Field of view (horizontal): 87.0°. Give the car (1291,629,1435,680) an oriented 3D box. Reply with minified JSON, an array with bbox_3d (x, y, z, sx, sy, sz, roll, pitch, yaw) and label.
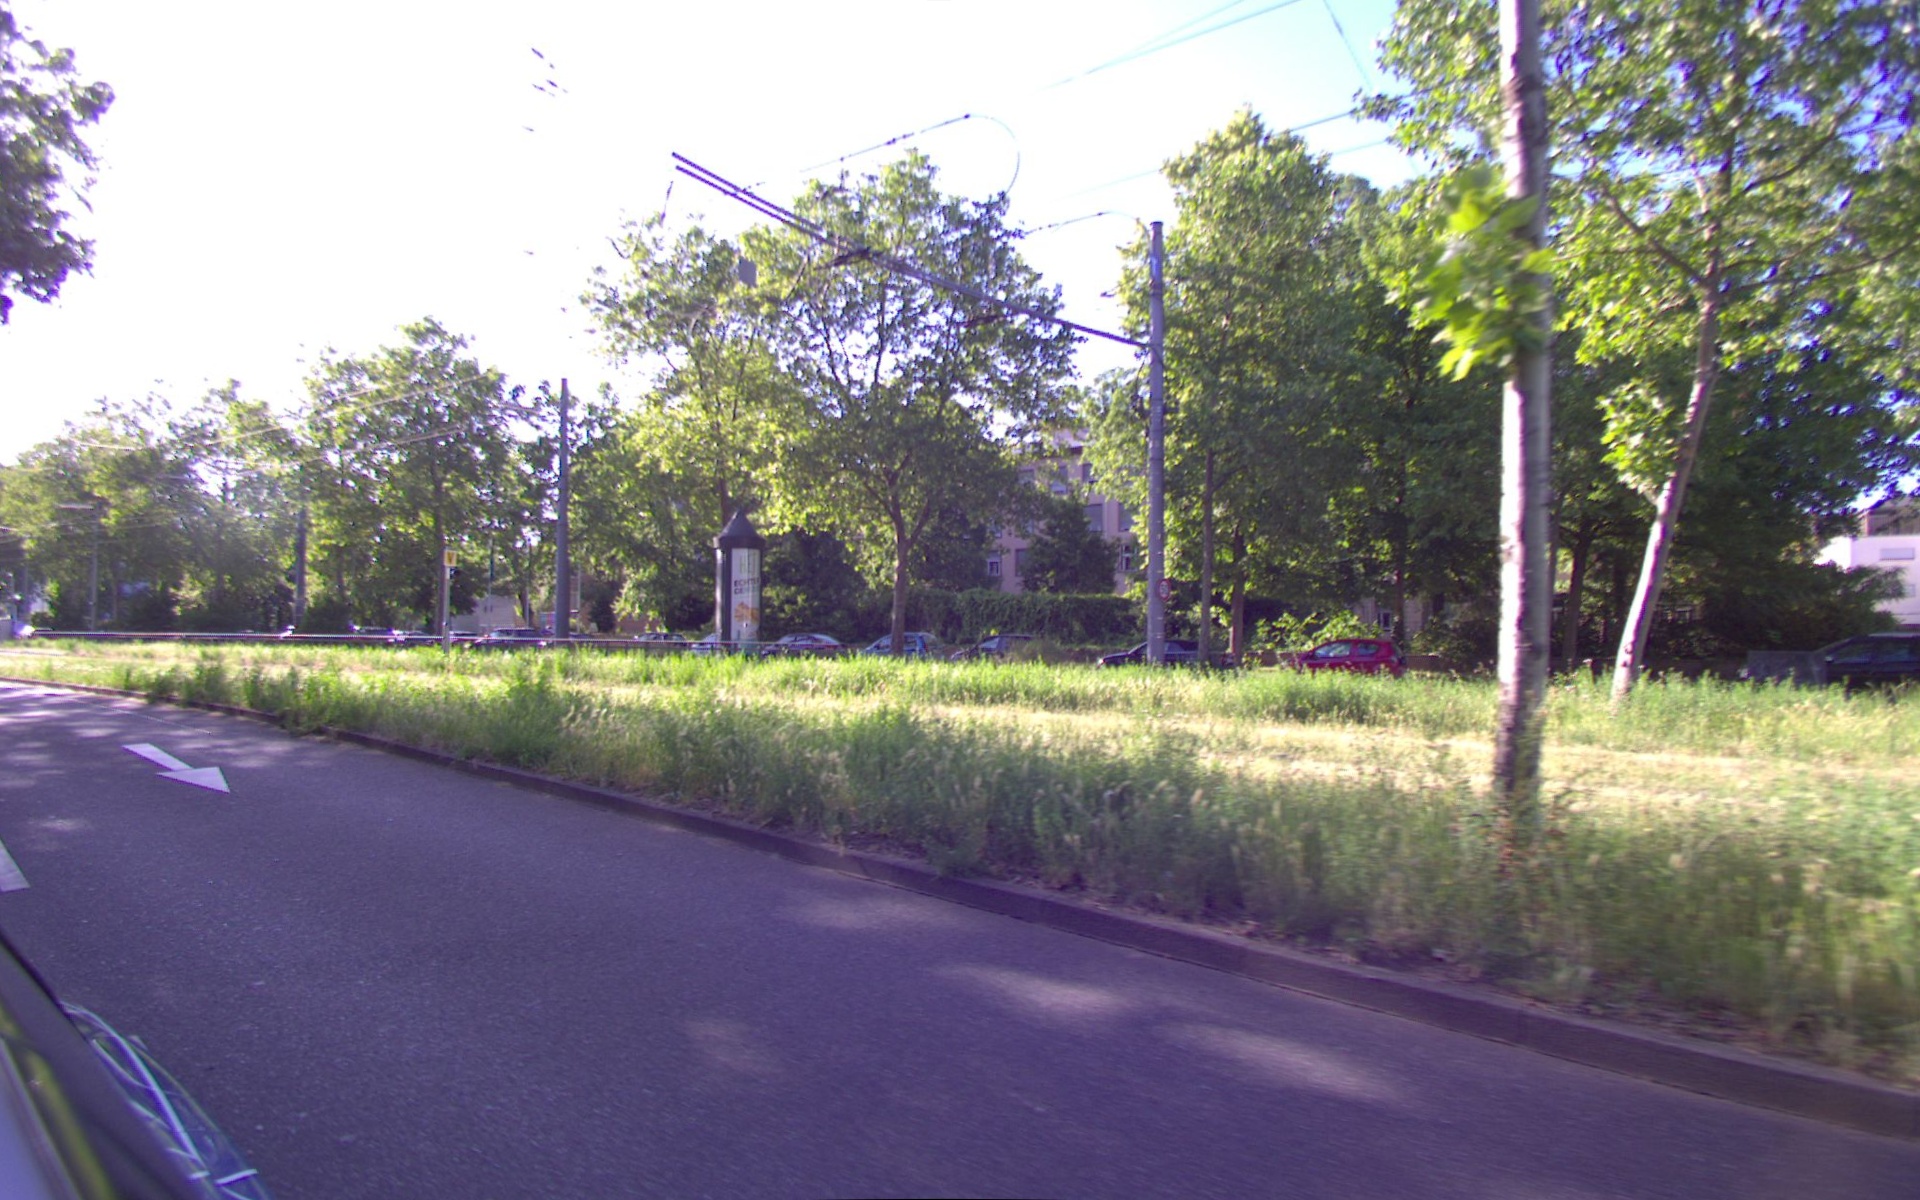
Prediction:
[{"bbox_3d":[10.648,1.398,26.806,3.351,1.238,1.395,-1,-1,34],"label":"car"}]

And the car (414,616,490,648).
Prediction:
[{"bbox_3d":[-27.856,1.754,55.456,3.988,1.634,1.978,-1,0,33],"label":"car"}]

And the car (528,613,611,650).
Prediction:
[{"bbox_3d":[-18.985,1.510,49.115,3.990,1.696,1.806,-1,0,34],"label":"car"}]

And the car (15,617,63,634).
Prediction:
[{"bbox_3d":[-65.158,1.781,71.578,4.698,1.143,1.674,-1,0,37],"label":"car"}]

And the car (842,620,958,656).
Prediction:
[{"bbox_3d":[-2.212,1.348,36.711,3.991,1.187,1.777,0,0,35],"label":"car"}]

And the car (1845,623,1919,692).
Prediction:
[{"bbox_3d":[20.420,1.134,20.185,3.993,1.320,1.975,-2,-1,37],"label":"car"}]

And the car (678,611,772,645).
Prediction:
[{"bbox_3d":[-9.767,1.152,41.917,3.772,1.322,1.753,-1,0,36],"label":"car"}]

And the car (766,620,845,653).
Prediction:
[{"bbox_3d":[-5.961,1.389,38.988,2.837,1.209,1.389,-1,-1,34],"label":"car"}]

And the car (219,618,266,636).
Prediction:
[{"bbox_3d":[-51.000,1.908,71.878,3.755,1.231,1.606,-1,-2,36],"label":"car"}]

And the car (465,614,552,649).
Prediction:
[{"bbox_3d":[-23.341,1.622,52.330,4.500,1.696,1.978,-1,0,33],"label":"car"}]
